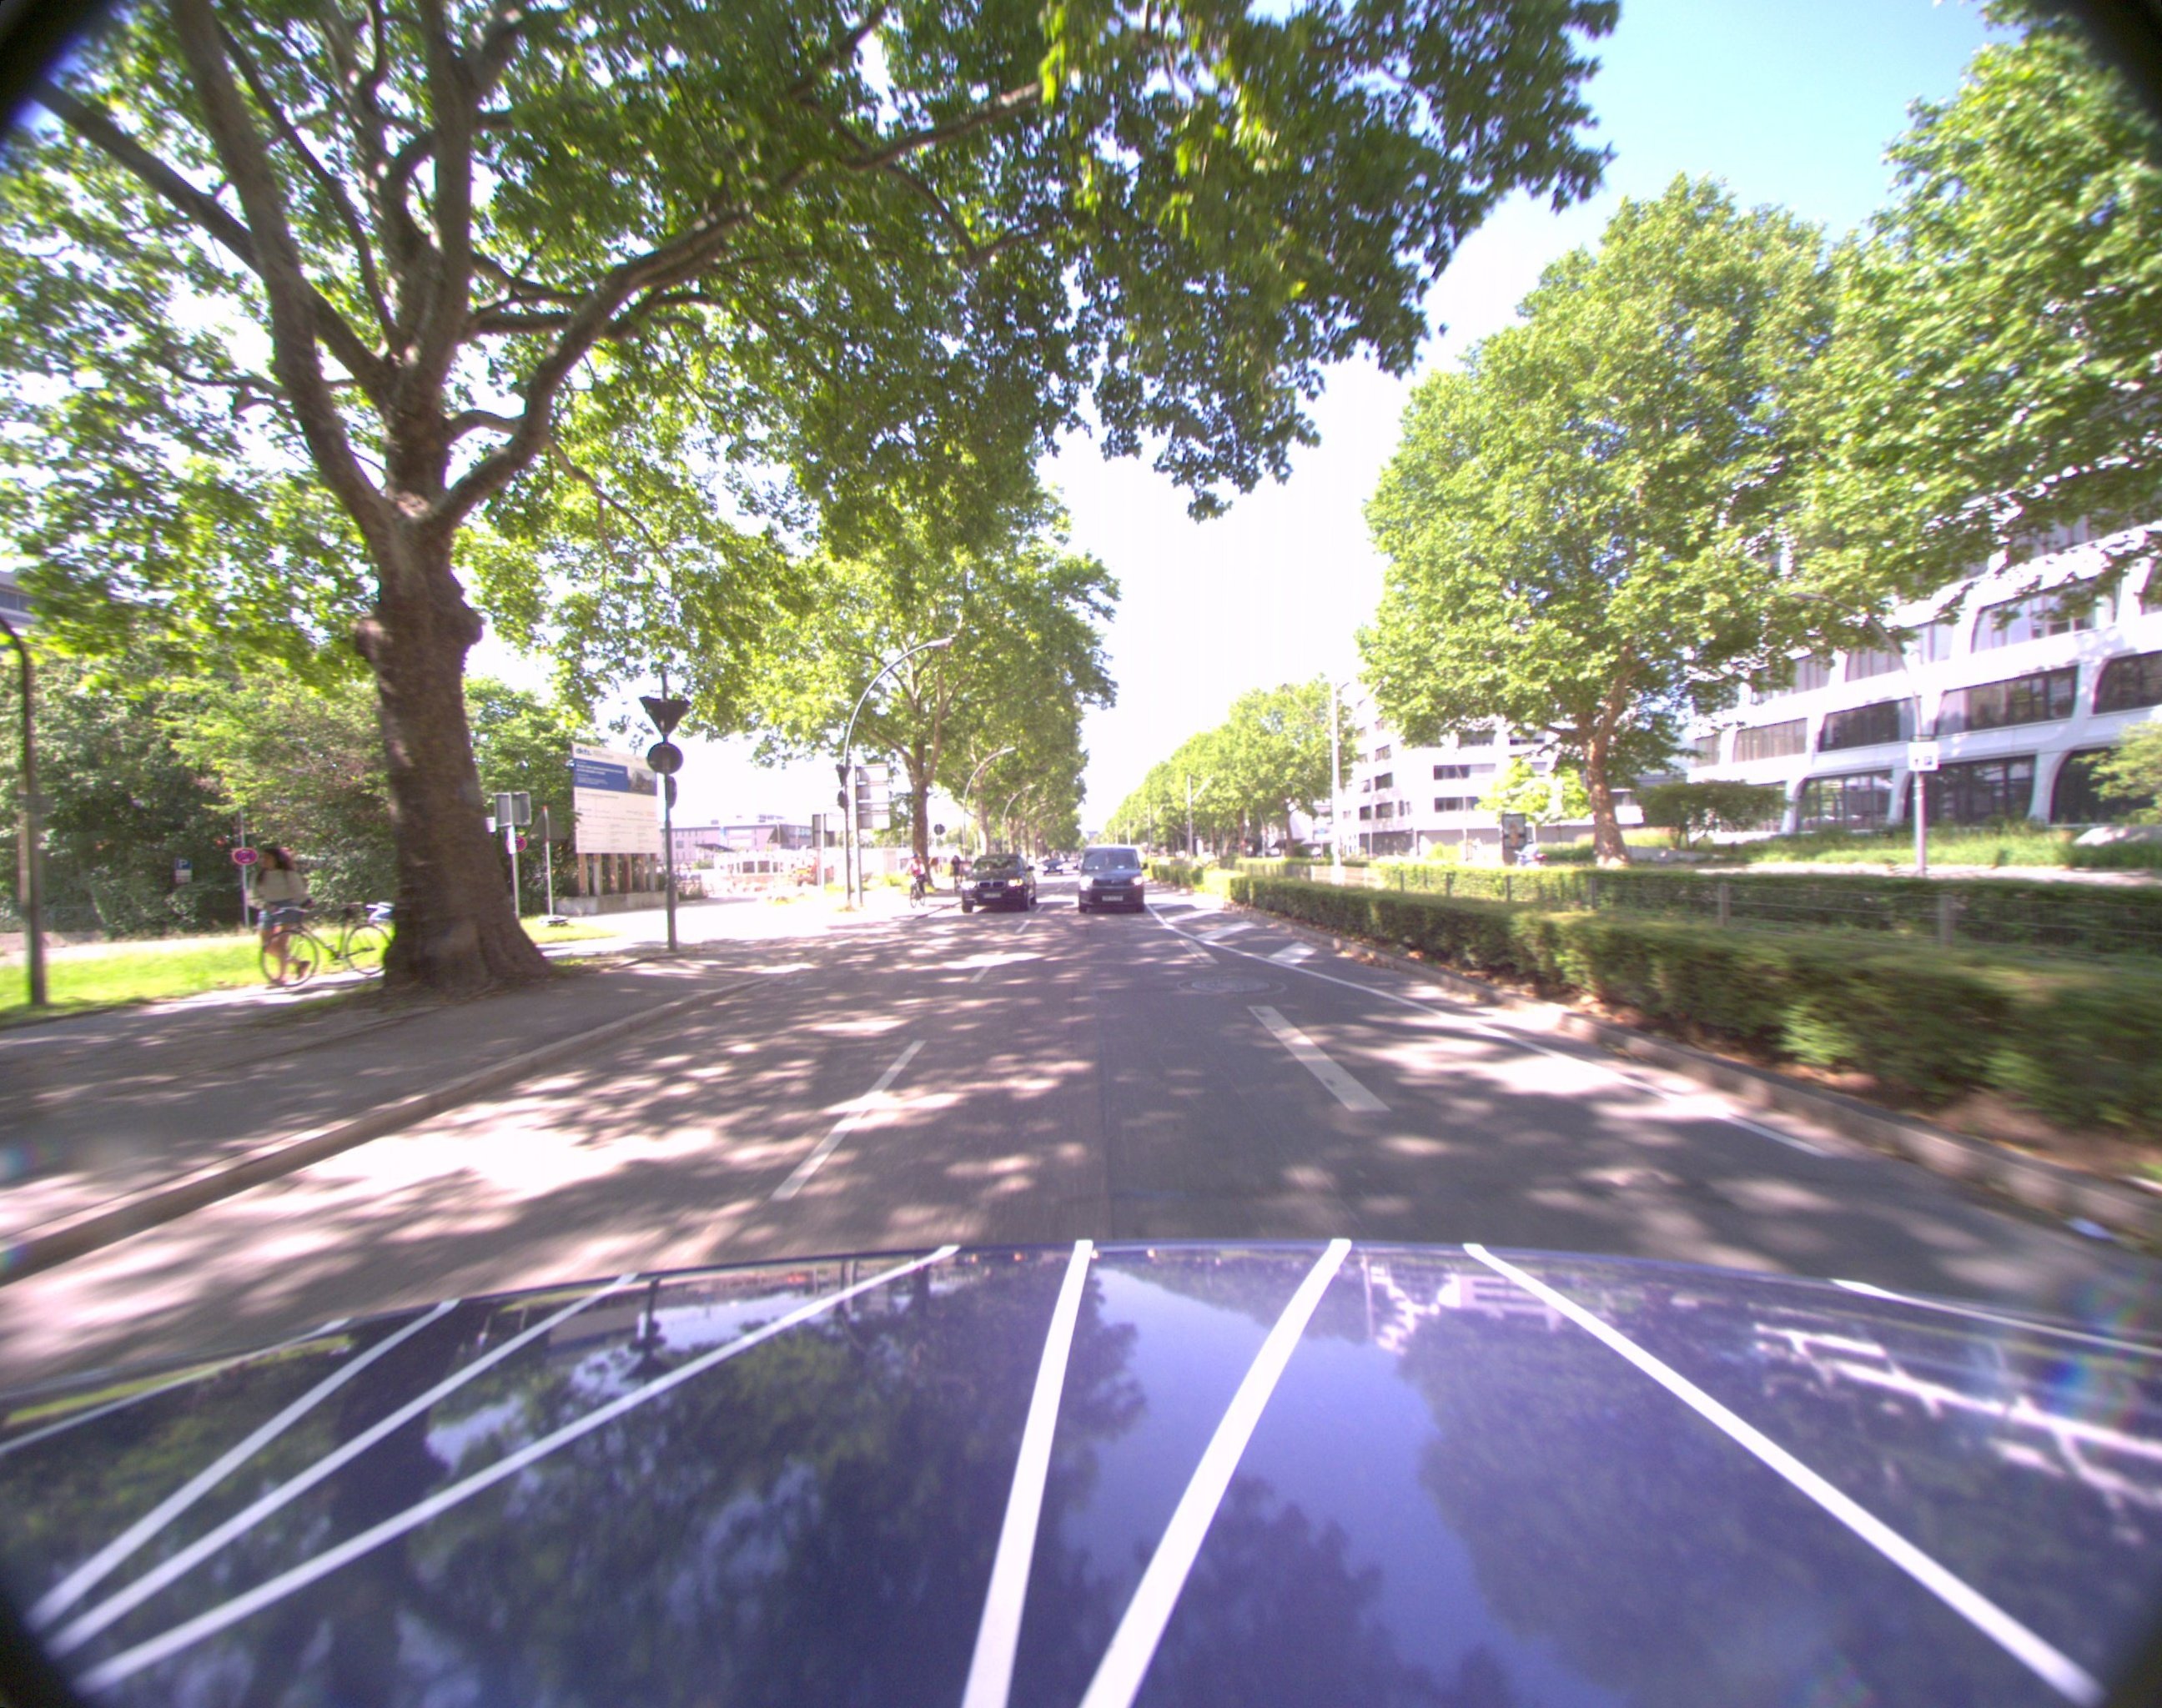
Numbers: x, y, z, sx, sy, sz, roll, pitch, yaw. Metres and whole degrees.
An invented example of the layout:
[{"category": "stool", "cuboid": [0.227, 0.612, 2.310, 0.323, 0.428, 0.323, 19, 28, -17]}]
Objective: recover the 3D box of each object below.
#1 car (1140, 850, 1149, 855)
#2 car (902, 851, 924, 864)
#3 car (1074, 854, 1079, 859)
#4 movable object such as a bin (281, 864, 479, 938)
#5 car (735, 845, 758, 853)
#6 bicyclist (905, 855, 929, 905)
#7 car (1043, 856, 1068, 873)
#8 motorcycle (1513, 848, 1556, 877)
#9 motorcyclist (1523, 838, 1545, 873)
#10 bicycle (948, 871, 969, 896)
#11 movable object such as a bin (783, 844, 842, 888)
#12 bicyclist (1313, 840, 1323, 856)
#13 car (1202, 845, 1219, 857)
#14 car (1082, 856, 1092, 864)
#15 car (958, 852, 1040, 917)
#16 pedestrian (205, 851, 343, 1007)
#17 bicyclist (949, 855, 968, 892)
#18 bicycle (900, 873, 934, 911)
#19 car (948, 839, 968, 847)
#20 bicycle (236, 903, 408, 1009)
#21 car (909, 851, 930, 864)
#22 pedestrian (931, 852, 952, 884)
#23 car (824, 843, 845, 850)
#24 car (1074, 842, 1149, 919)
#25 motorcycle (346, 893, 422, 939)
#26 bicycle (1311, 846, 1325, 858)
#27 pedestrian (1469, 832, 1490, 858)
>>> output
[{"category": "car", "cuboid": [17.127, -0.384, 205.233, 1.820, 1.482, 3.912, 0, 0, -1]}, {"category": "car", "cuboid": [-37.107, 0.821, 167.785, 4.375, 2.723, 1.808, -2, 1, -3]}, {"category": "car", "cuboid": [-1.548, 0.793, 258.183, 1.860, 1.445, 3.999, -2, 0, -1]}, {"category": "movable object such as a bin", "cuboid": [-59.446, 3.742, 64.723, 6.738, 5.146, 11.798, -2, 1, 43]}, {"category": "car", "cuboid": [-70.643, -1.049, 160.652, 3.998, 1.501, 1.808, -2, 0, -3]}, {"category": "bicyclist", "cuboid": [-5.271, 0.835, 24.463, 0.621, 1.591, 0.732, 0, 1, -1]}, {"category": "car", "cuboid": [-2.248, 0.915, 67.680, 1.854, 1.419, 4.152, -3, 0, 2]}, {"category": "motorcycle", "cuboid": [18.988, 0.329, 31.854, 0.634, 1.168, 2.000, -2, 0, 1]}, {"category": "motorcyclist", "cuboid": [18.955, 0.050, 31.814, 0.582, 1.449, 0.533, -2, 1, 1]}, {"category": "bicycle", "cuboid": [-5.062, 1.204, 31.475, 0.599, 0.974, 1.781, 0, 0, -1]}, {"category": "movable object such as a bin", "cuboid": [-20.146, 0.846, 57.380, 2.376, 3.054, 5.984, -3, 0, -2]}, {"category": "bicyclist", "cuboid": [22.201, -0.575, 71.123, 0.656, 1.526, 0.641, -2, 1, 1]}, {"category": "car", "cuboid": [18.564, -0.393, 108.971, 1.761, 1.560, 4.019, -2, 0, 1]}, {"category": "car", "cuboid": [1.119, 1.121, 140.470, 1.854, 1.419, 4.152, -3, 0, 2]}, {"category": "car", "cuboid": [-2.403, 0.835, 23.314, 1.924, 1.720, 4.151, -3, 0, 1]}, {"category": "pedestrian", "cuboid": [-9.713, 0.866, 9.181, 0.633, 1.775, 0.874, -2, 1, 1]}, {"category": "bicyclist", "cuboid": [-5.058, 0.786, 31.514, 0.600, 1.481, 1.215, 1, 0, -1]}, {"category": "bicycle", "cuboid": [-5.256, 1.201, 24.460, 0.653, 1.123, 1.945, -1, 1, 0]}, {"category": "car", "cuboid": [-26.588, -2.286, 163.940, 3.998, 1.501, 1.808, -2, 0, -3]}, {"category": "bicycle", "cuboid": [-9.339, 1.208, 9.445, 0.350, 1.075, 1.699, -2, 1, 1]}, {"category": "car", "cuboid": [-37.056, 0.776, 174.818, 4.375, 2.723, 1.808, -2, 1, -3]}, {"category": "pedestrian", "cuboid": [-8.552, 0.848, 46.664, 0.941, 1.881, 1.151, -2, 1, 1]}, {"category": "car", "cuboid": [-53.088, -1.611, 163.520, 3.998, 1.501, 1.808, -2, 0, -3]}, {"category": "car", "cuboid": [0.790, 0.624, 20.406, 1.789, 1.839, 4.000, -1, 1, 2]}, {"category": "motorcycle", "cuboid": [-16.237, 1.434, 17.709, 1.223, 0.962, 0.471, -2, 1, -6]}, {"category": "bicycle", "cuboid": [22.213, -0.193, 71.214, 0.666, 1.118, 2.031, -2, 0, 1]}, {"category": "pedestrian", "cuboid": [25.370, -0.573, 48.373, 0.722, 1.579, 1.015, -2, 1, 1]}]
